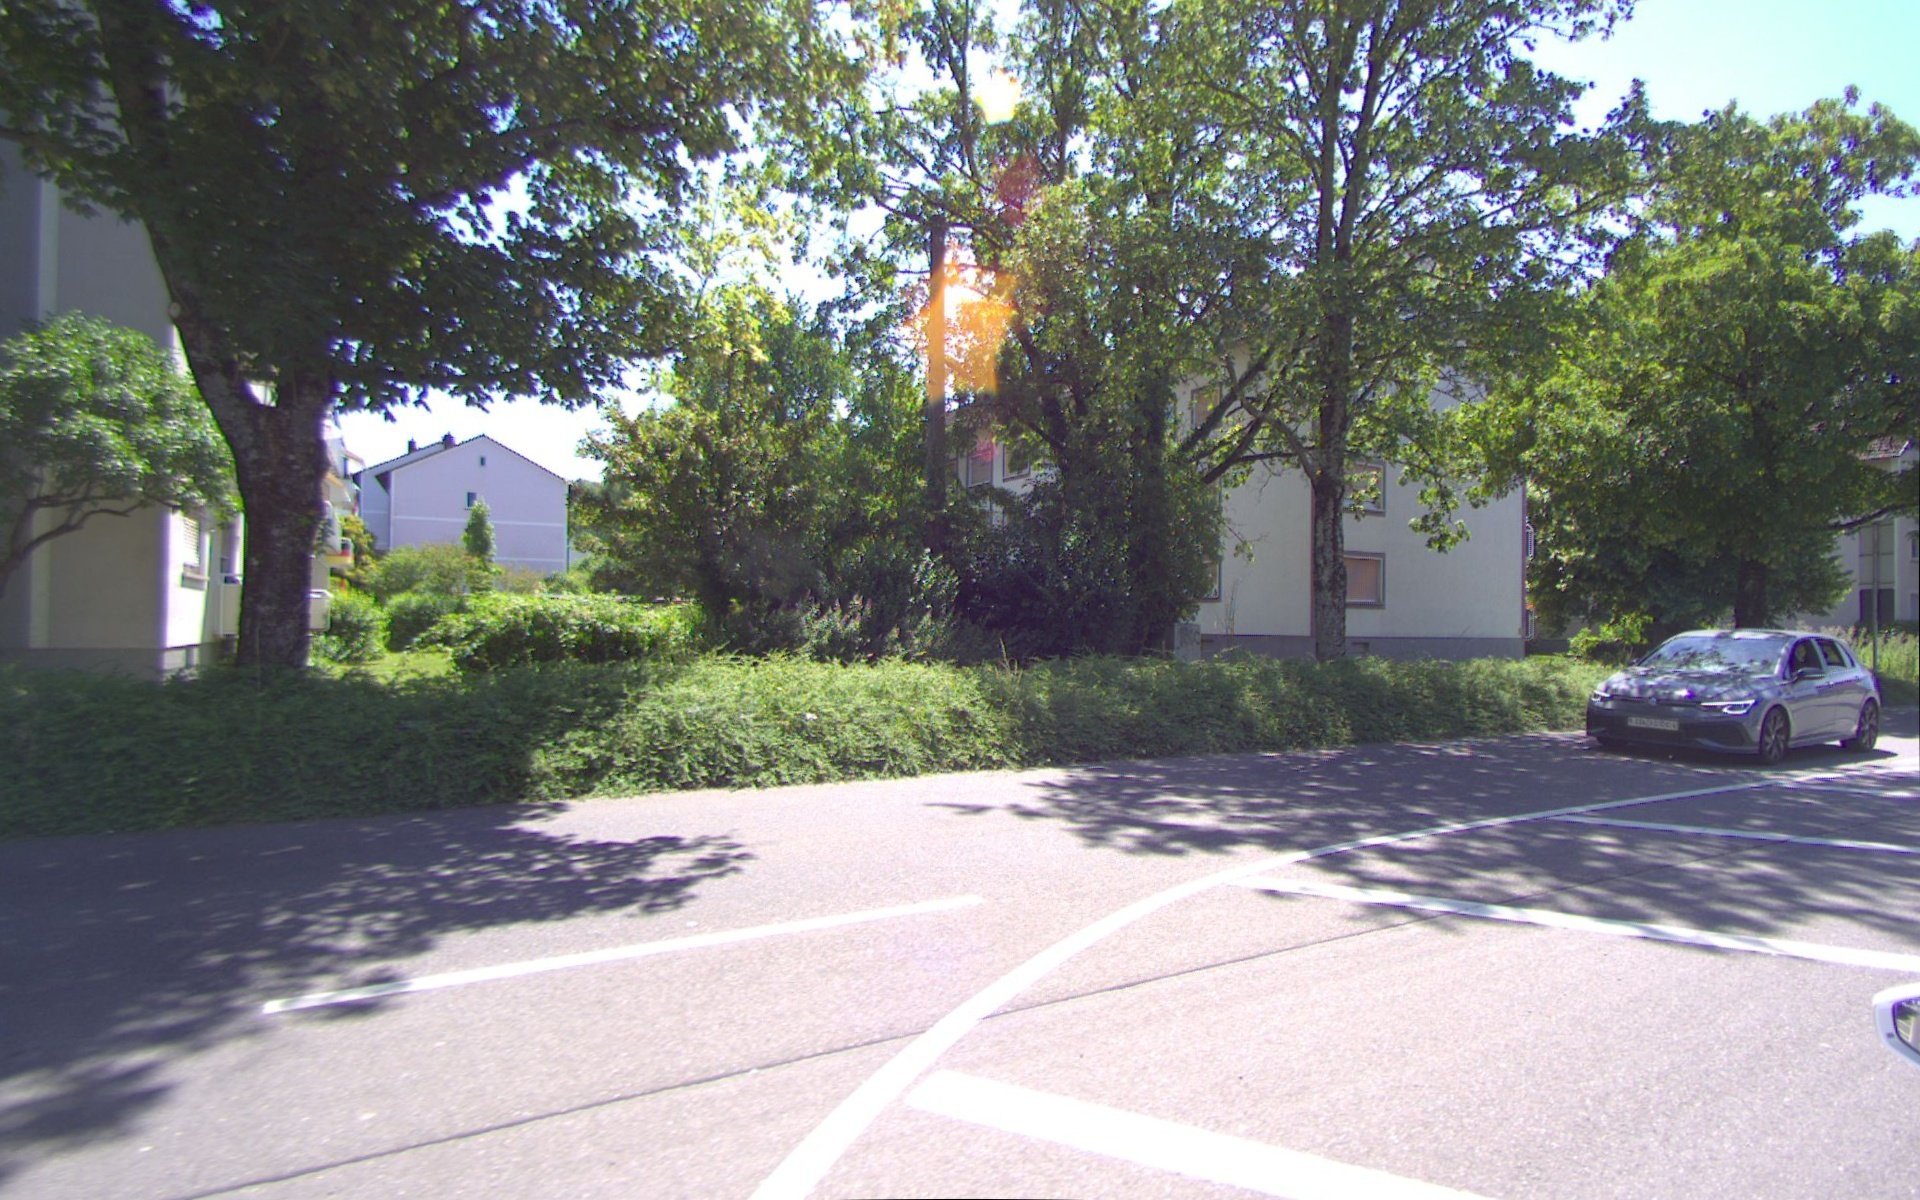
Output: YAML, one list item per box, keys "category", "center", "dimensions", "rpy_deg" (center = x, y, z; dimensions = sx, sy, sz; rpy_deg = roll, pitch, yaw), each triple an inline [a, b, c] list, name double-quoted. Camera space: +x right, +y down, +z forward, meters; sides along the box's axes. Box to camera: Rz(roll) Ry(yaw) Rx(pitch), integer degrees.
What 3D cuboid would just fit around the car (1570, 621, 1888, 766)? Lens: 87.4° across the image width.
- category: "car"
  center: [9.341, 1.040, 12.132]
  dimensions: [4.102, 1.446, 1.712]
  rpy_deg: [2, -1, -32]
